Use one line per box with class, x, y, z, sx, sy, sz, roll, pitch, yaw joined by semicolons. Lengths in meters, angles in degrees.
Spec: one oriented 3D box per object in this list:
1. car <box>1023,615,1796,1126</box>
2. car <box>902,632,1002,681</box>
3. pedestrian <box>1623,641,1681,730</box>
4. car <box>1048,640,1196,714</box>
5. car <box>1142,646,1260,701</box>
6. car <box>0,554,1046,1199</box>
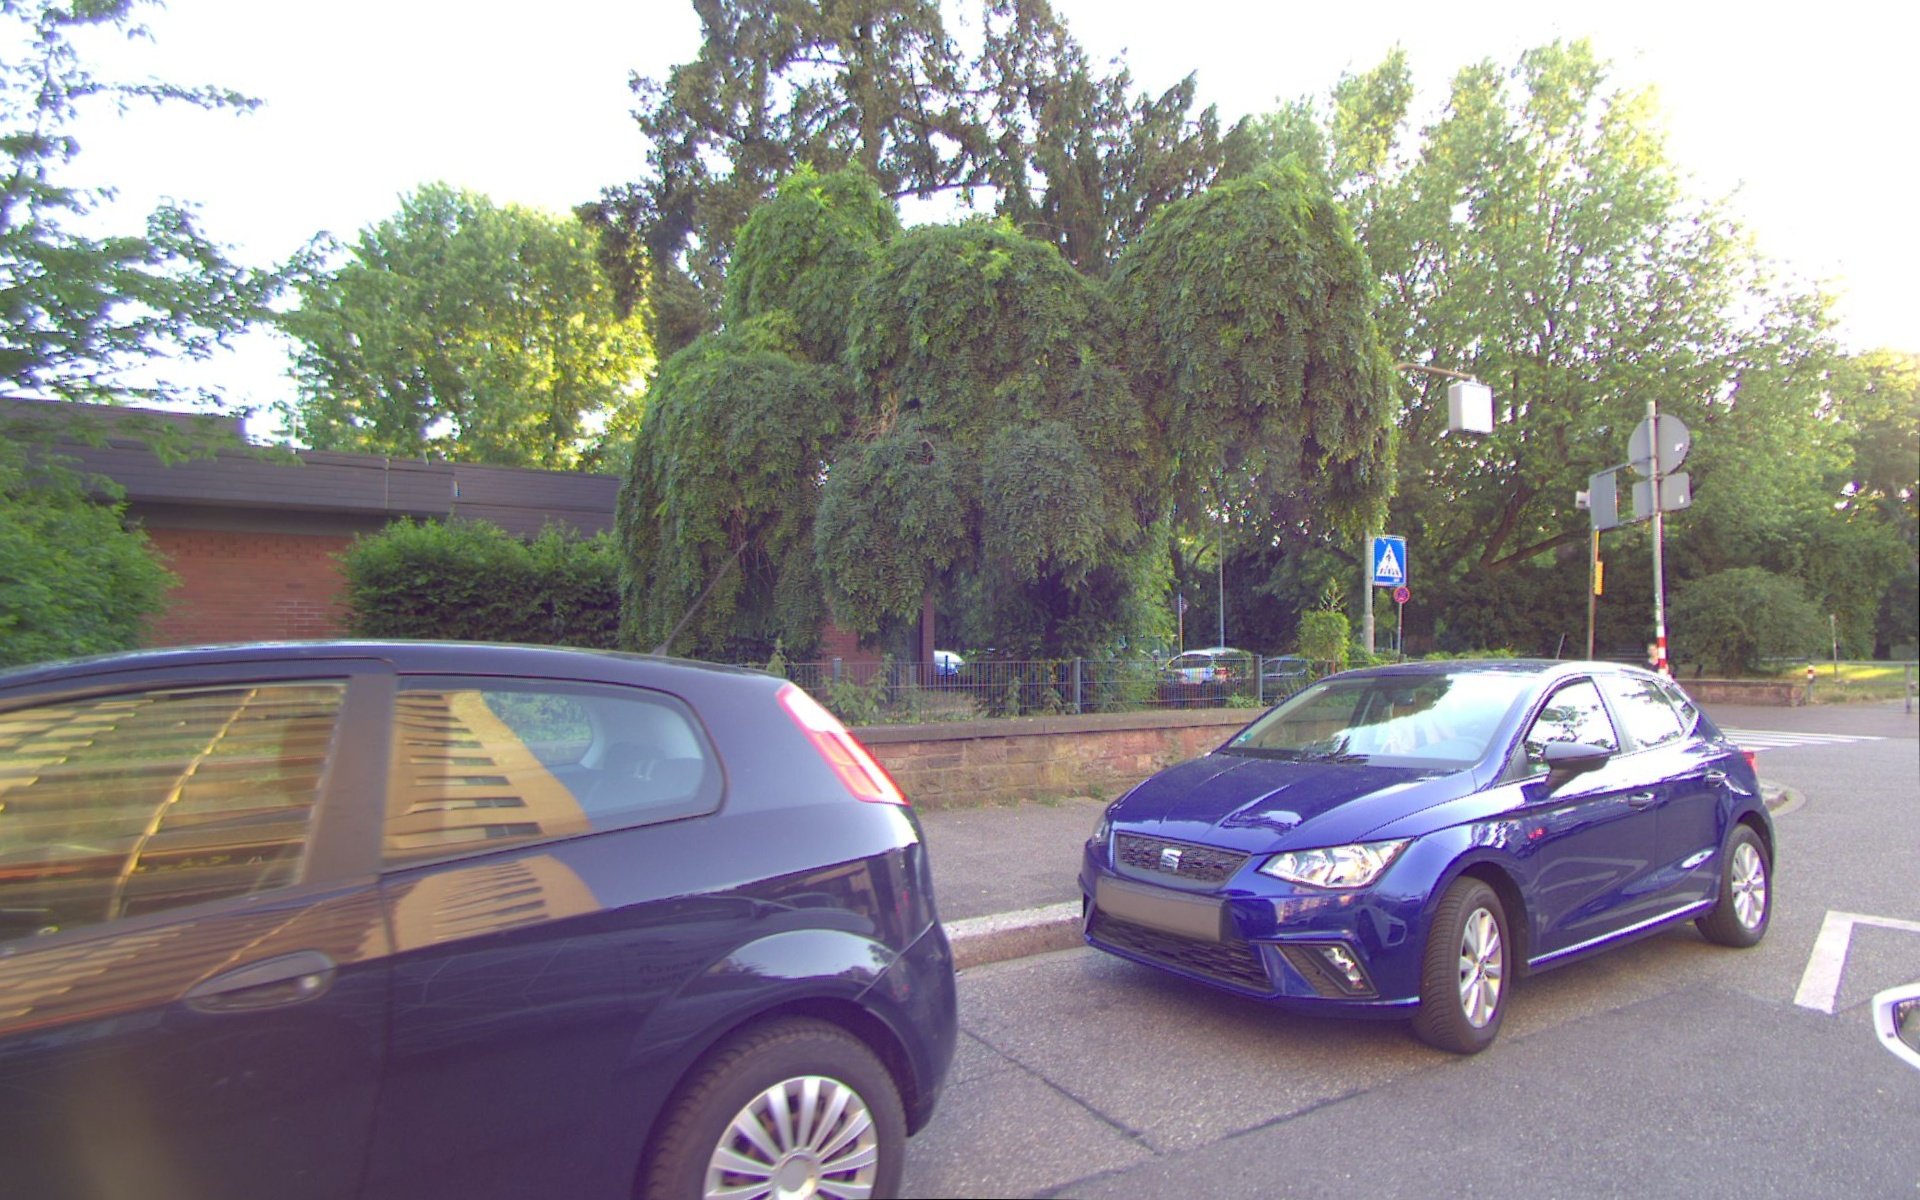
car;2.321;0.937;4.935;3.751;1.587;1.723;2;-4;-34
car;-0.358;2.032;35.812;1.801;1.564;4.212;5;-6;-28
pedestrian;13.410;1.646;19.464;0.662;1.670;0.647;1;-1;-12
car;4.340;2.107;27.560;1.801;1.821;4.212;5;-6;-28
car;8.237;2.501;34.653;1.799;1.583;3.857;-5;-1;-27
car;-1.778;0.782;2.256;3.658;1.587;1.724;2;-4;-34
